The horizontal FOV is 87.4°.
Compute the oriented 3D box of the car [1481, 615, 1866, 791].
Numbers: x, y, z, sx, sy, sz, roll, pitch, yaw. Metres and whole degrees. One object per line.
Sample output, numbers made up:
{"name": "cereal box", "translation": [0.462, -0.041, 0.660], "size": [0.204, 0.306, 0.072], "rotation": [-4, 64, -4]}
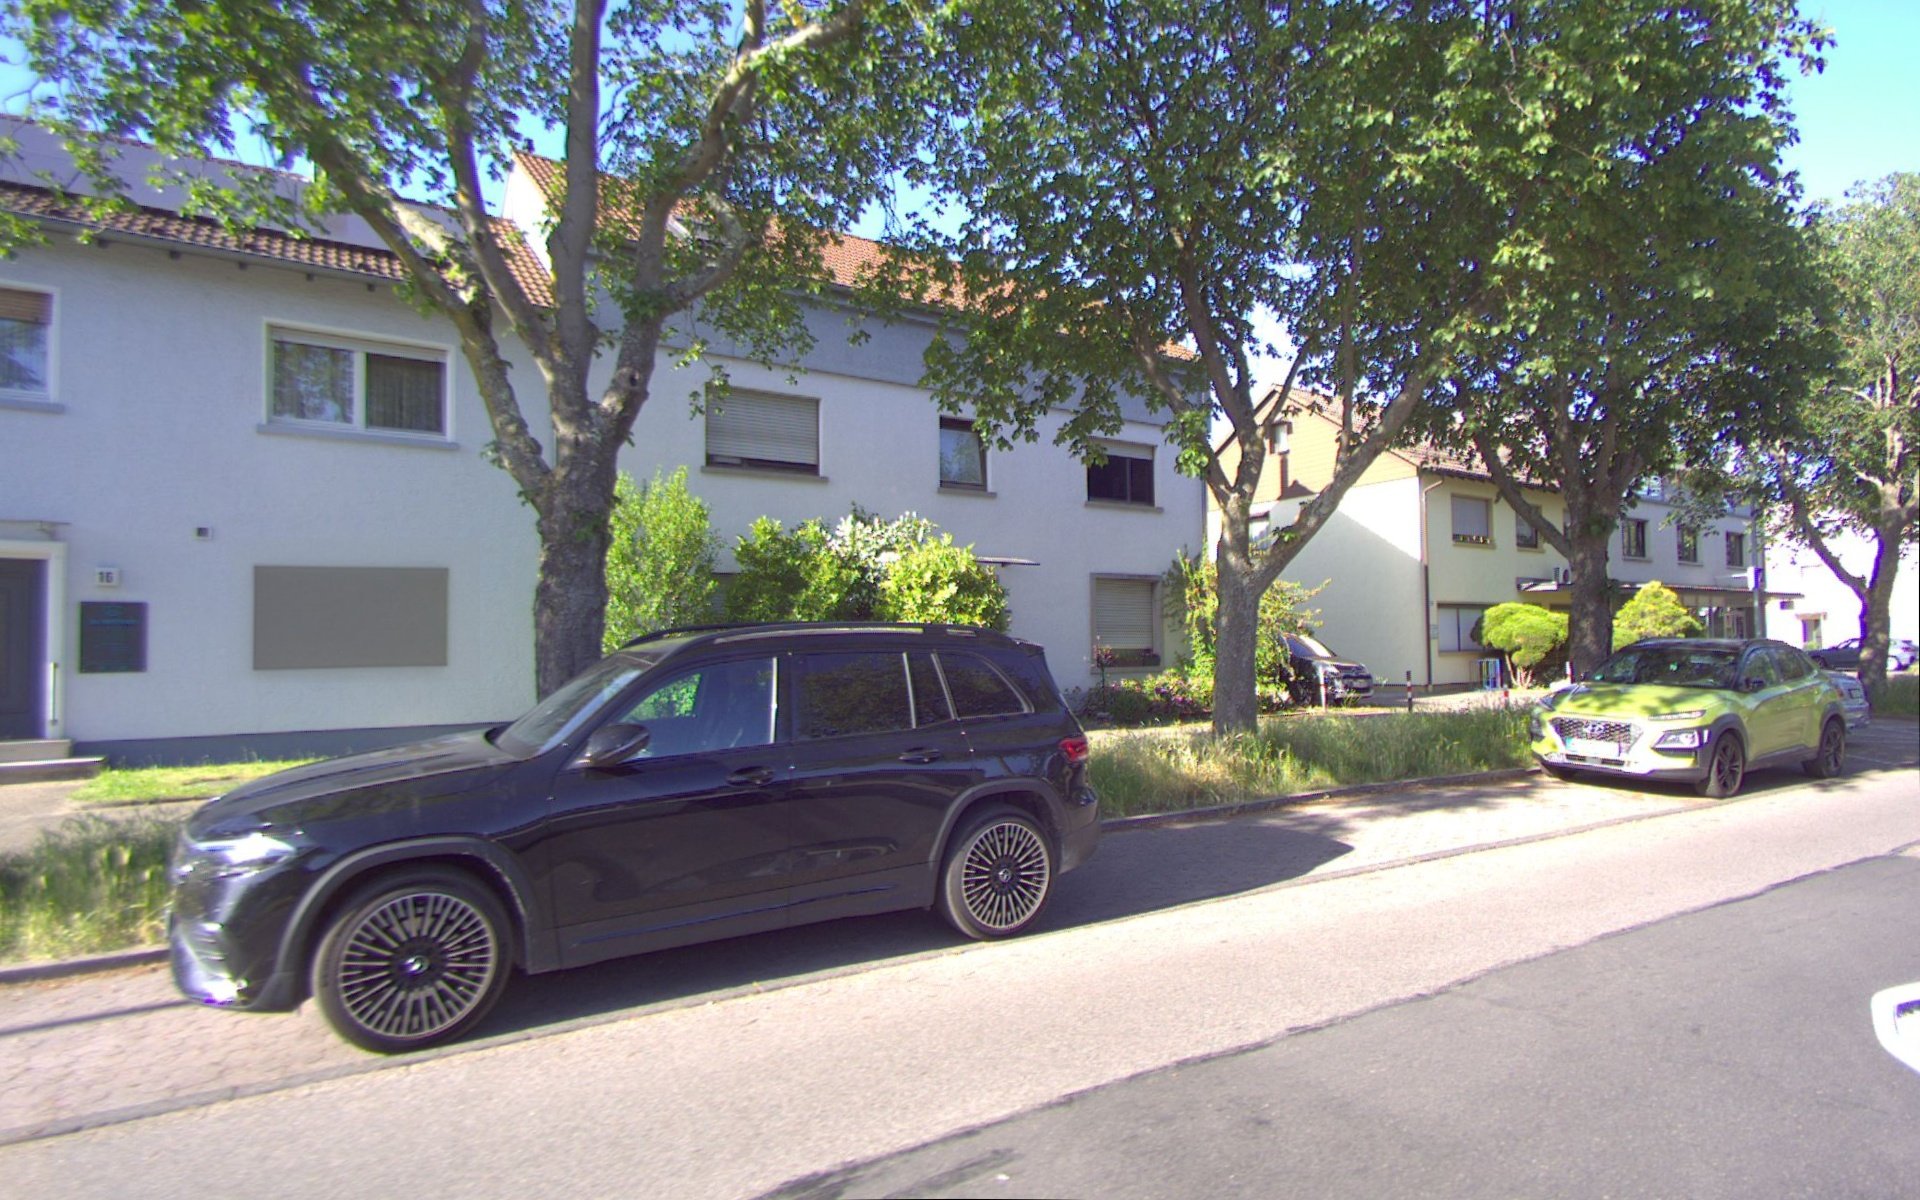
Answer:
{"name": "car", "translation": [8.050, 1.035, 11.266], "size": [4.332, 1.630, 1.930], "rotation": [2, -2, -30]}

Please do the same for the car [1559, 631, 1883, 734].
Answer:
{"name": "car", "translation": [11.744, 1.192, 15.753], "size": [1.593, 1.318, 3.745], "rotation": [-1, 0, -31]}

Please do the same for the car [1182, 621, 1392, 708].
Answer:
{"name": "car", "translation": [7.353, 1.383, 22.933], "size": [1.980, 1.737, 4.206], "rotation": [-1, 0, -35]}

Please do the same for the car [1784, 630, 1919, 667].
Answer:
{"name": "car", "translation": [42.971, 2.296, 48.508], "size": [1.979, 1.639, 4.526], "rotation": [-1, -1, -34]}

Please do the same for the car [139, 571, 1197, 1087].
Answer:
{"name": "car", "translation": [-1.171, 0.849, 5.488], "size": [4.818, 1.749, 1.944], "rotation": [2, -2, -30]}
